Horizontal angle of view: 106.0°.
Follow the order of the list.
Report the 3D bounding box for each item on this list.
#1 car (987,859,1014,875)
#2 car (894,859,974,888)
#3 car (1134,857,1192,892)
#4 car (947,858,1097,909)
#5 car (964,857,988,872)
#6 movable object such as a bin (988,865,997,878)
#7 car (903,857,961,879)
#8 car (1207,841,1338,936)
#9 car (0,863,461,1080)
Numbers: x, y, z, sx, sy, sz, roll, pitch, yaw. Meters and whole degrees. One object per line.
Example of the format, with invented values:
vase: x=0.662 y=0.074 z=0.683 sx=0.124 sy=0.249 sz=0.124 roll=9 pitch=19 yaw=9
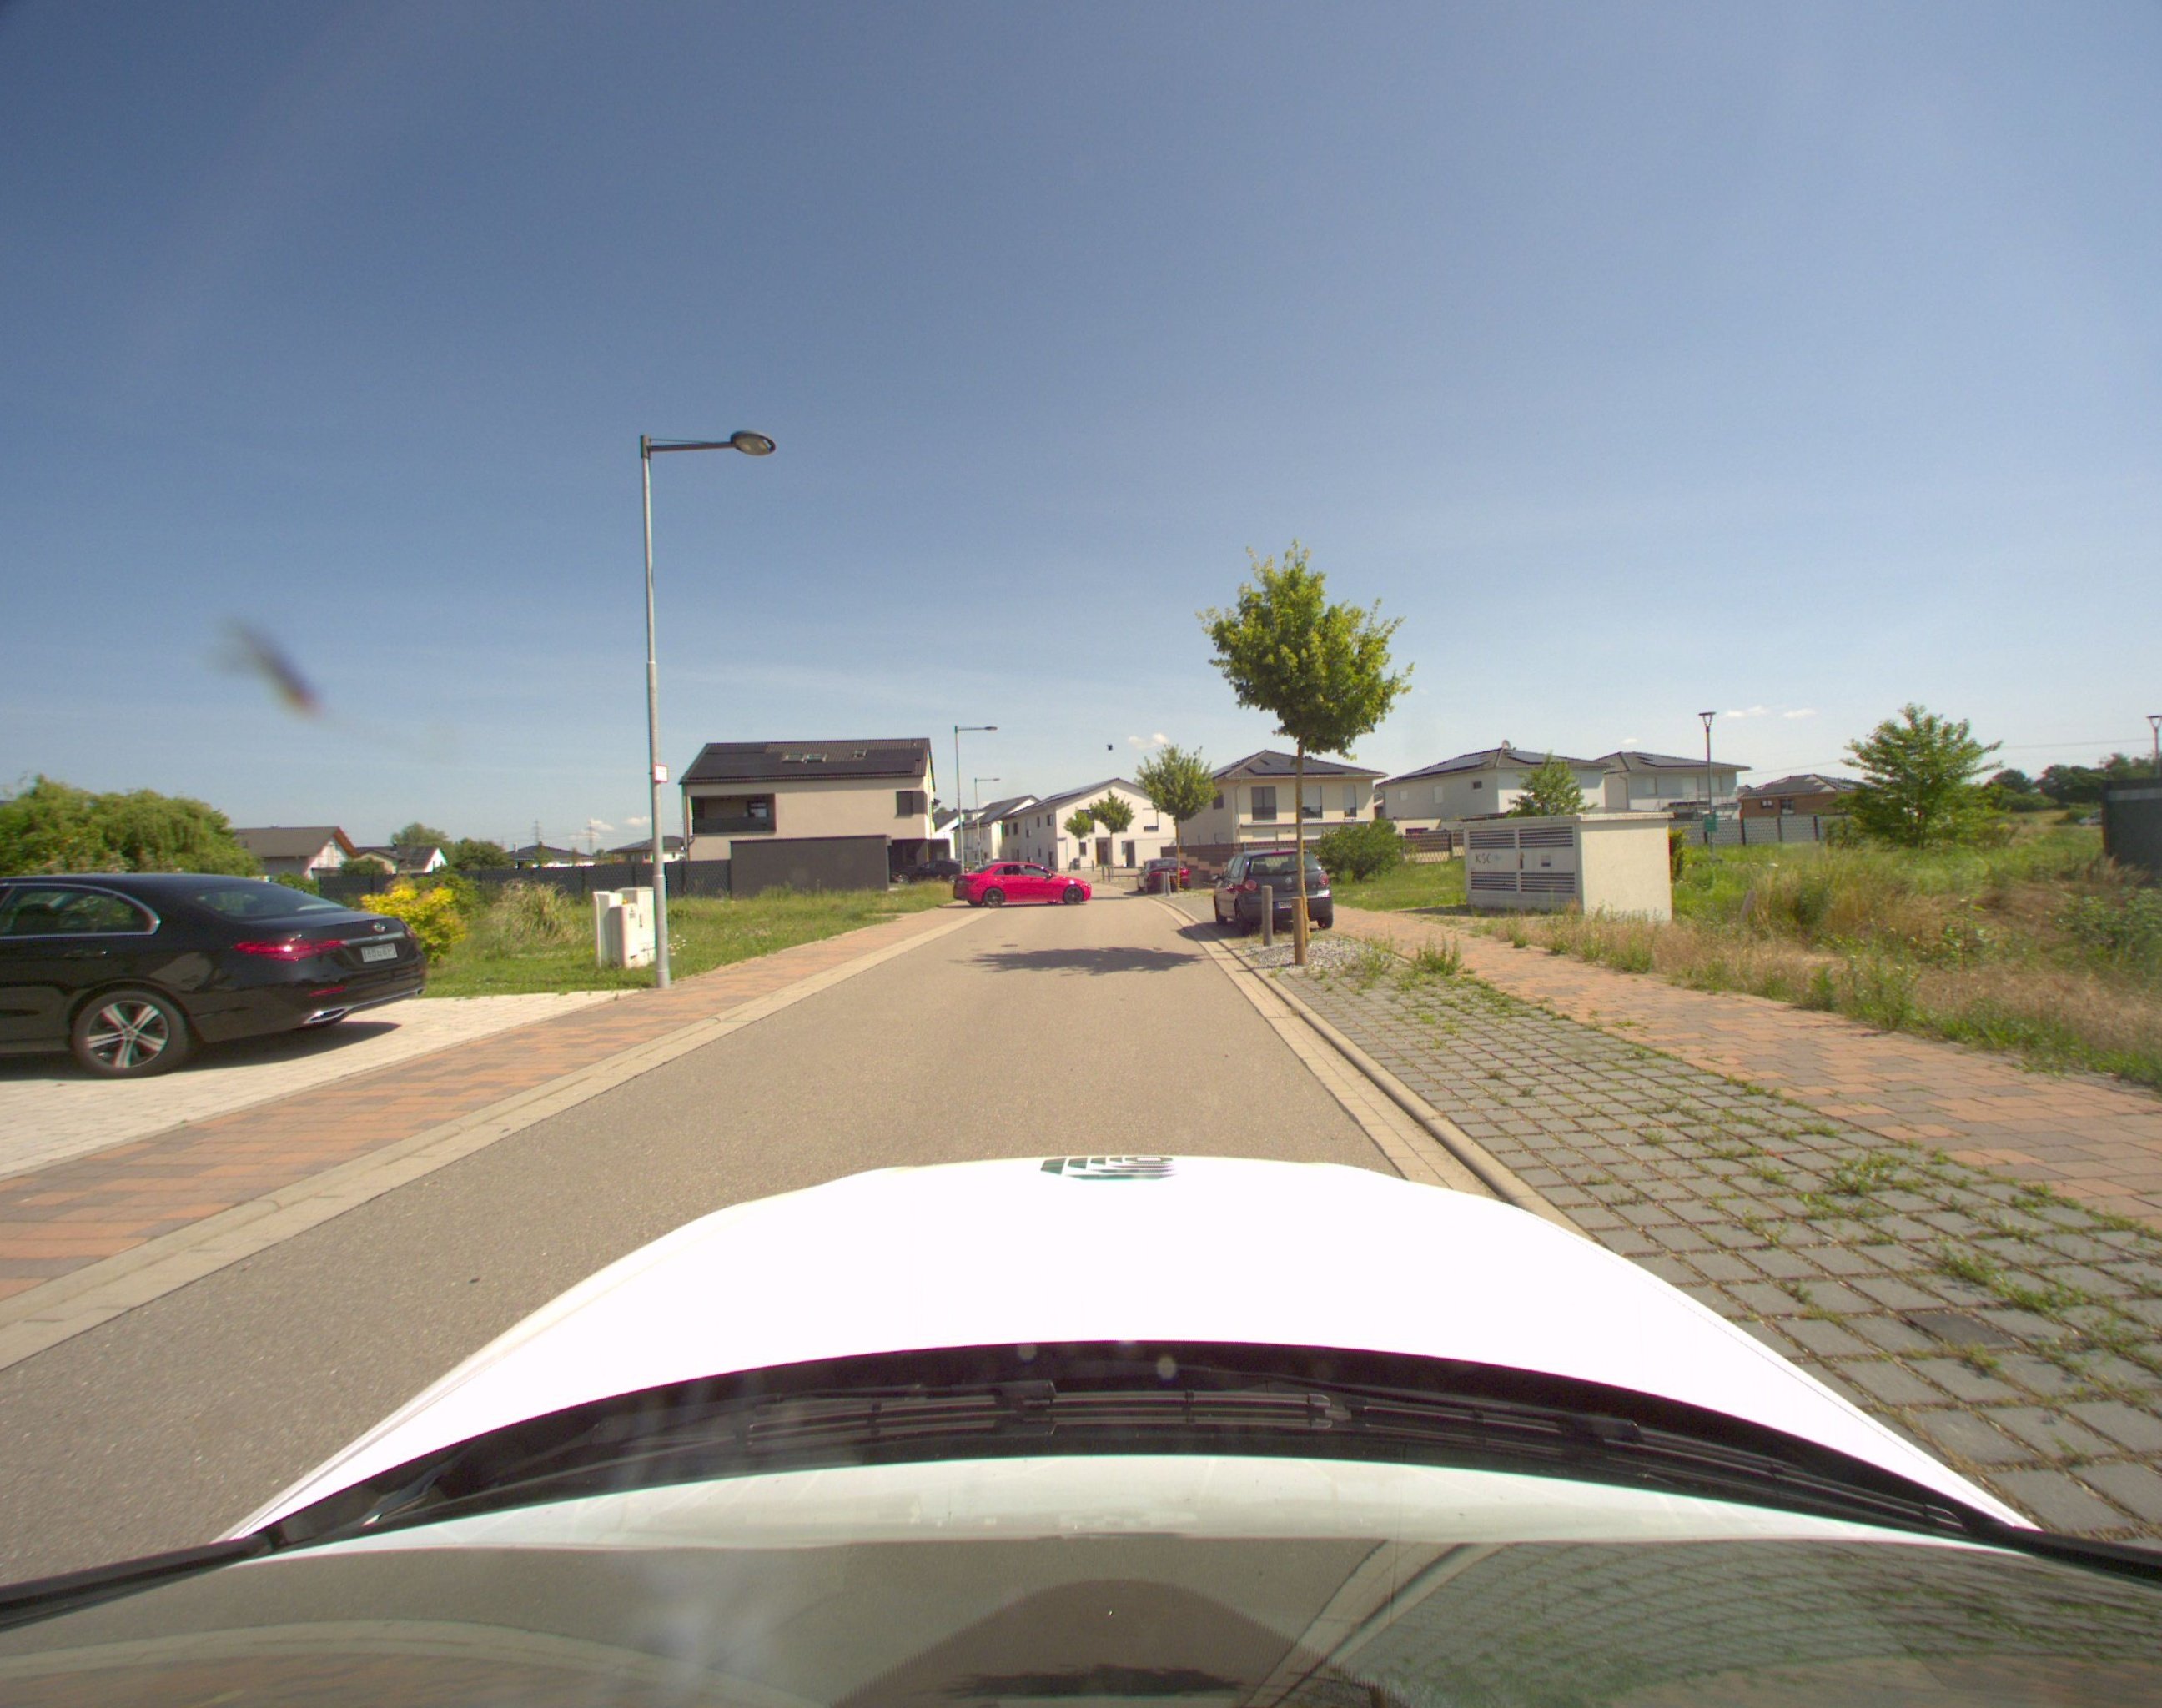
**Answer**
car: x=-7.602 y=1.212 z=76.890 sx=1.731 sy=1.423 sz=3.976 roll=-3 pitch=0 yaw=-18
car: x=-8.374 y=1.106 z=46.578 sx=4.370 sy=1.631 sz=1.767 roll=0 pitch=-1 yaw=-7
car: x=3.375 y=0.824 z=34.462 sx=1.750 sy=1.363 sz=4.570 roll=-1 pitch=0 yaw=-3
car: x=-1.882 y=0.890 z=26.310 sx=4.529 sy=1.438 sz=1.753 roll=-1 pitch=0 yaw=-27
car: x=-11.104 y=1.159 z=85.965 sx=1.683 sy=1.464 sz=3.917 roll=-3 pitch=0 yaw=-20
movable object such as a bin: x=-6.175 y=1.221 z=56.816 sx=0.532 sy=0.936 sz=0.526 roll=-1 pitch=0 yaw=3
car: x=-10.817 y=1.004 z=59.285 sx=3.980 sy=1.486 sz=1.751 roll=-2 pitch=0 yaw=-5
car: x=3.476 y=0.574 z=15.443 sx=1.593 sy=1.475 sz=3.675 roll=-4 pitch=0 yaw=1
car: x=-7.868 y=0.843 z=6.412 sx=4.395 sy=1.452 sz=1.742 roll=-1 pitch=0 yaw=-11
